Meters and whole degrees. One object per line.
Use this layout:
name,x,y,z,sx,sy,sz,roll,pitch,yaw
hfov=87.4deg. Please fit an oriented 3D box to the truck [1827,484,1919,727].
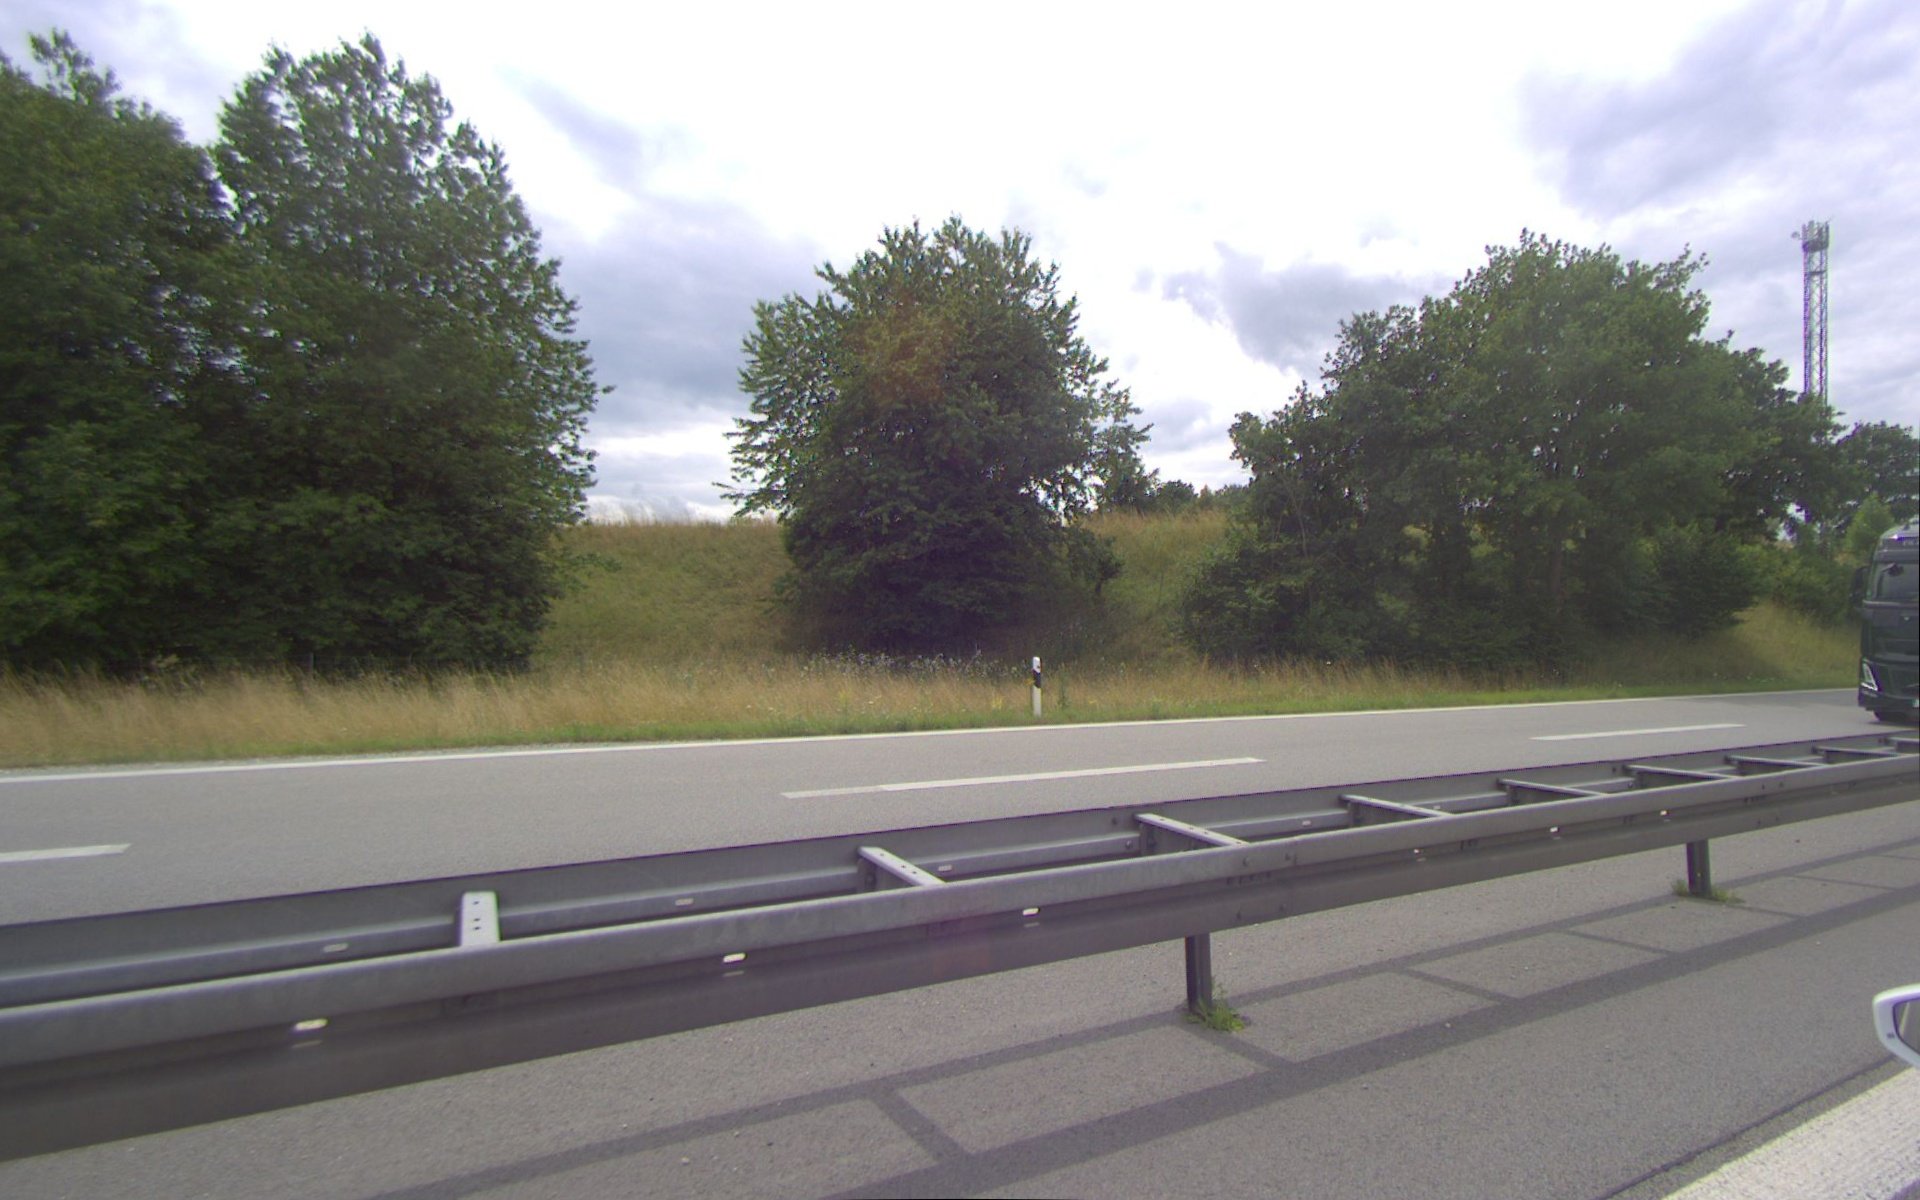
truck,19.779,0.215,19.134,6.900,4.225,2.628,2,0,-29
